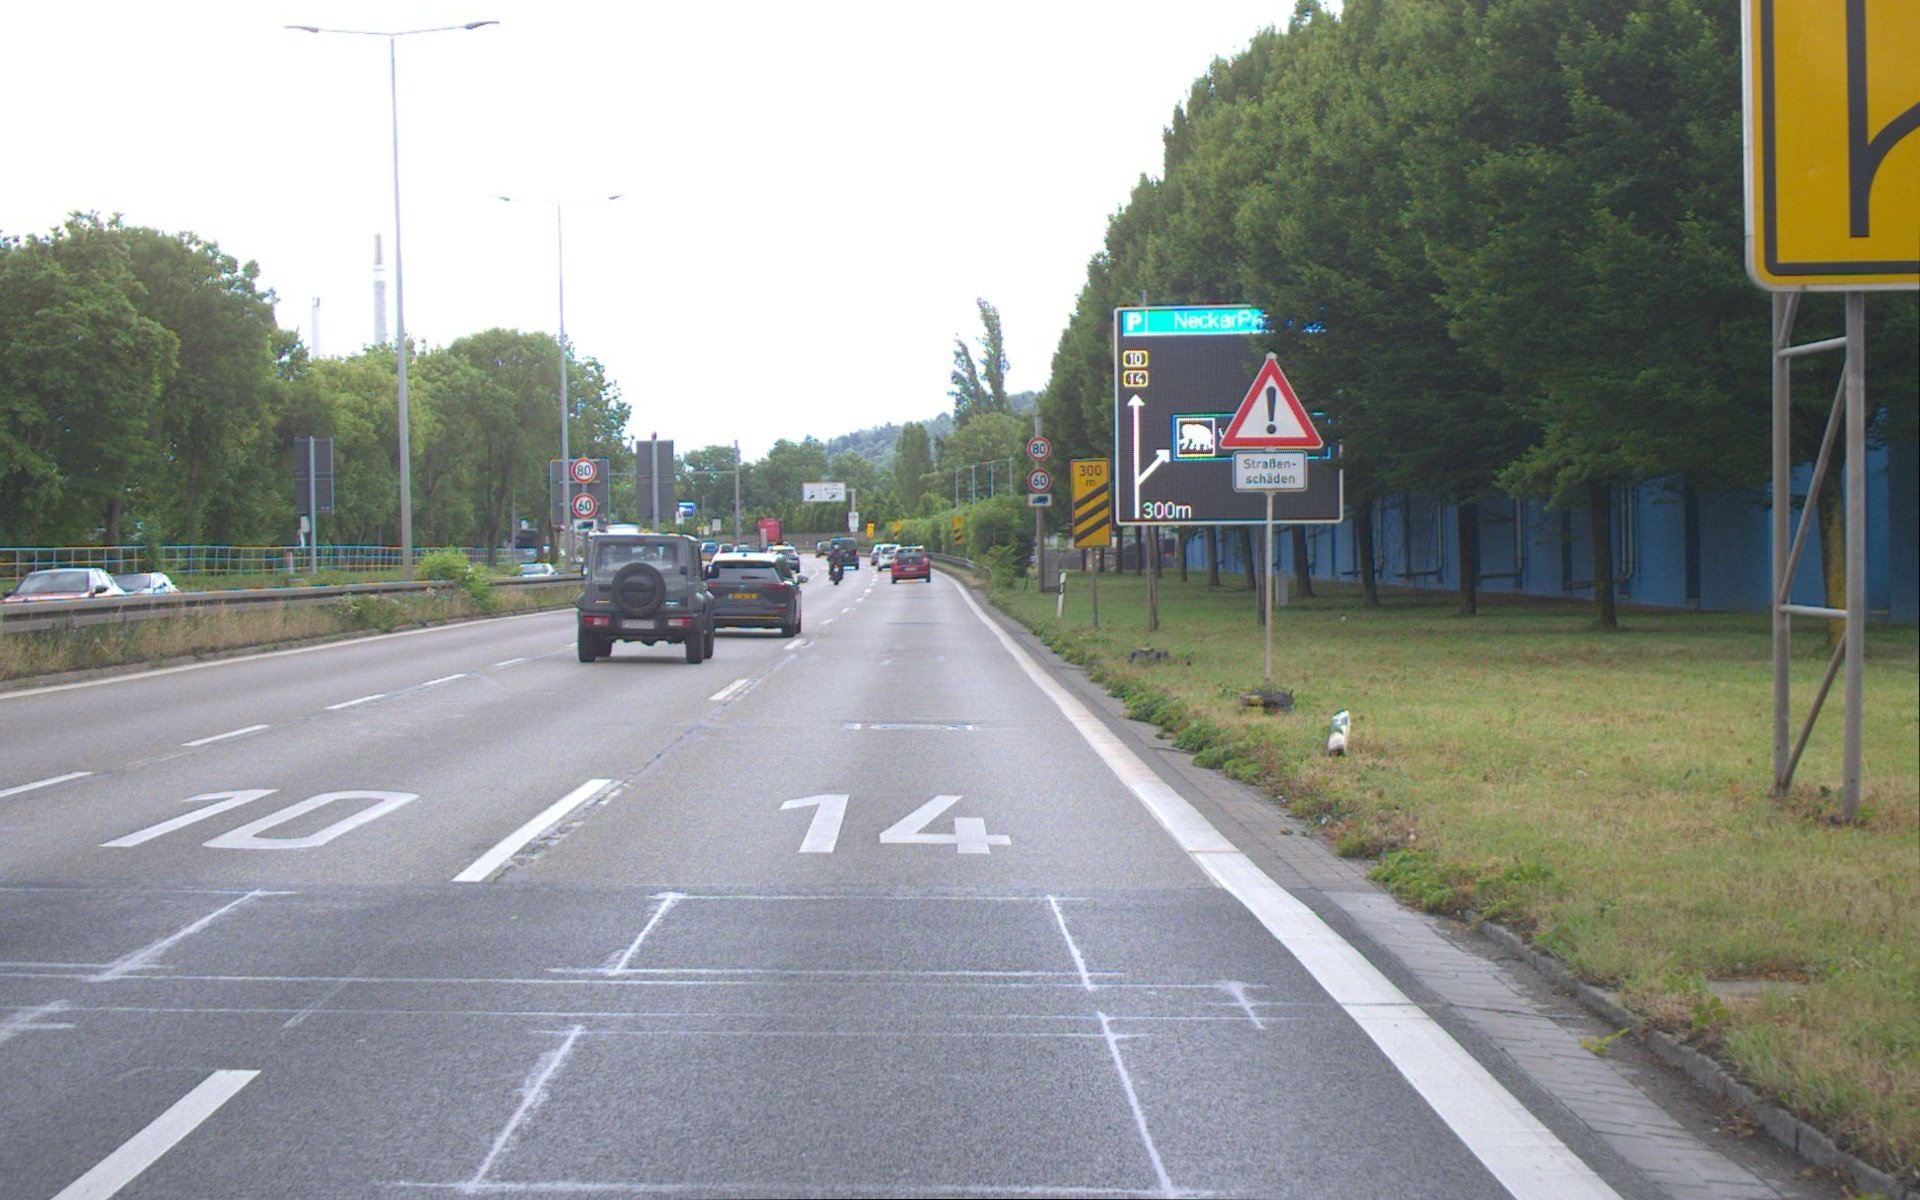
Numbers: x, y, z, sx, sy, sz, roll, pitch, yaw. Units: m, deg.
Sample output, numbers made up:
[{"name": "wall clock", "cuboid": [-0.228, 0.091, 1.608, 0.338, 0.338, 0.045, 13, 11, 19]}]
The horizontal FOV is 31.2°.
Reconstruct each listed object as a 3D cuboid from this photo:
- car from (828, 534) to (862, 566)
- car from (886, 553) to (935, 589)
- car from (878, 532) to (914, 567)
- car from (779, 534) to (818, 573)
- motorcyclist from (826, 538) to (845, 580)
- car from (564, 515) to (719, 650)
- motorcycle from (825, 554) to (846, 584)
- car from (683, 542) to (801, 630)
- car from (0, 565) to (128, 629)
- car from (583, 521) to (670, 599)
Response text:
[{"name": "car", "cuboid": [-7.166, -3.095, 214.698, 2.013, 1.927, 4.901, -2, 1, -2]}, {"name": "car", "cuboid": [-2.109, -1.248, 145.314, 1.974, 1.418, 4.901, -2, 1, -2]}, {"name": "car", "cuboid": [-3.771, -2.939, 201.191, 2.013, 1.927, 4.901, -2, 1, -2]}, {"name": "car", "cuboid": [-7.546, -2.144, 160.183, 1.697, 1.736, 4.394, -2, 1, -3]}, {"name": "motorcyclist", "cuboid": [-5.260, -1.724, 145.505, 0.791, 1.754, 0.923, 0, 1, 0]}, {"name": "car", "cuboid": [-4.212, -0.265, 45.975, 1.697, 1.680, 4.000, 2, 1, -1]}, {"name": "motorcycle", "cuboid": [-5.258, -1.326, 145.423, 0.791, 1.215, 2.330, 0, 1, -1]}, {"name": "car", "cuboid": [-3.760, -0.263, 59.963, 1.845, 1.418, 4.901, -2, 1, -2]}, {"name": "car", "cuboid": [-16.737, -0.070, 63.965, 1.545, 1.102, 4.067, 0, 1, -1]}, {"name": "car", "cuboid": [-7.724, -0.950, 79.982, 1.697, 1.736, 4.000, 2, 1, -2]}]
